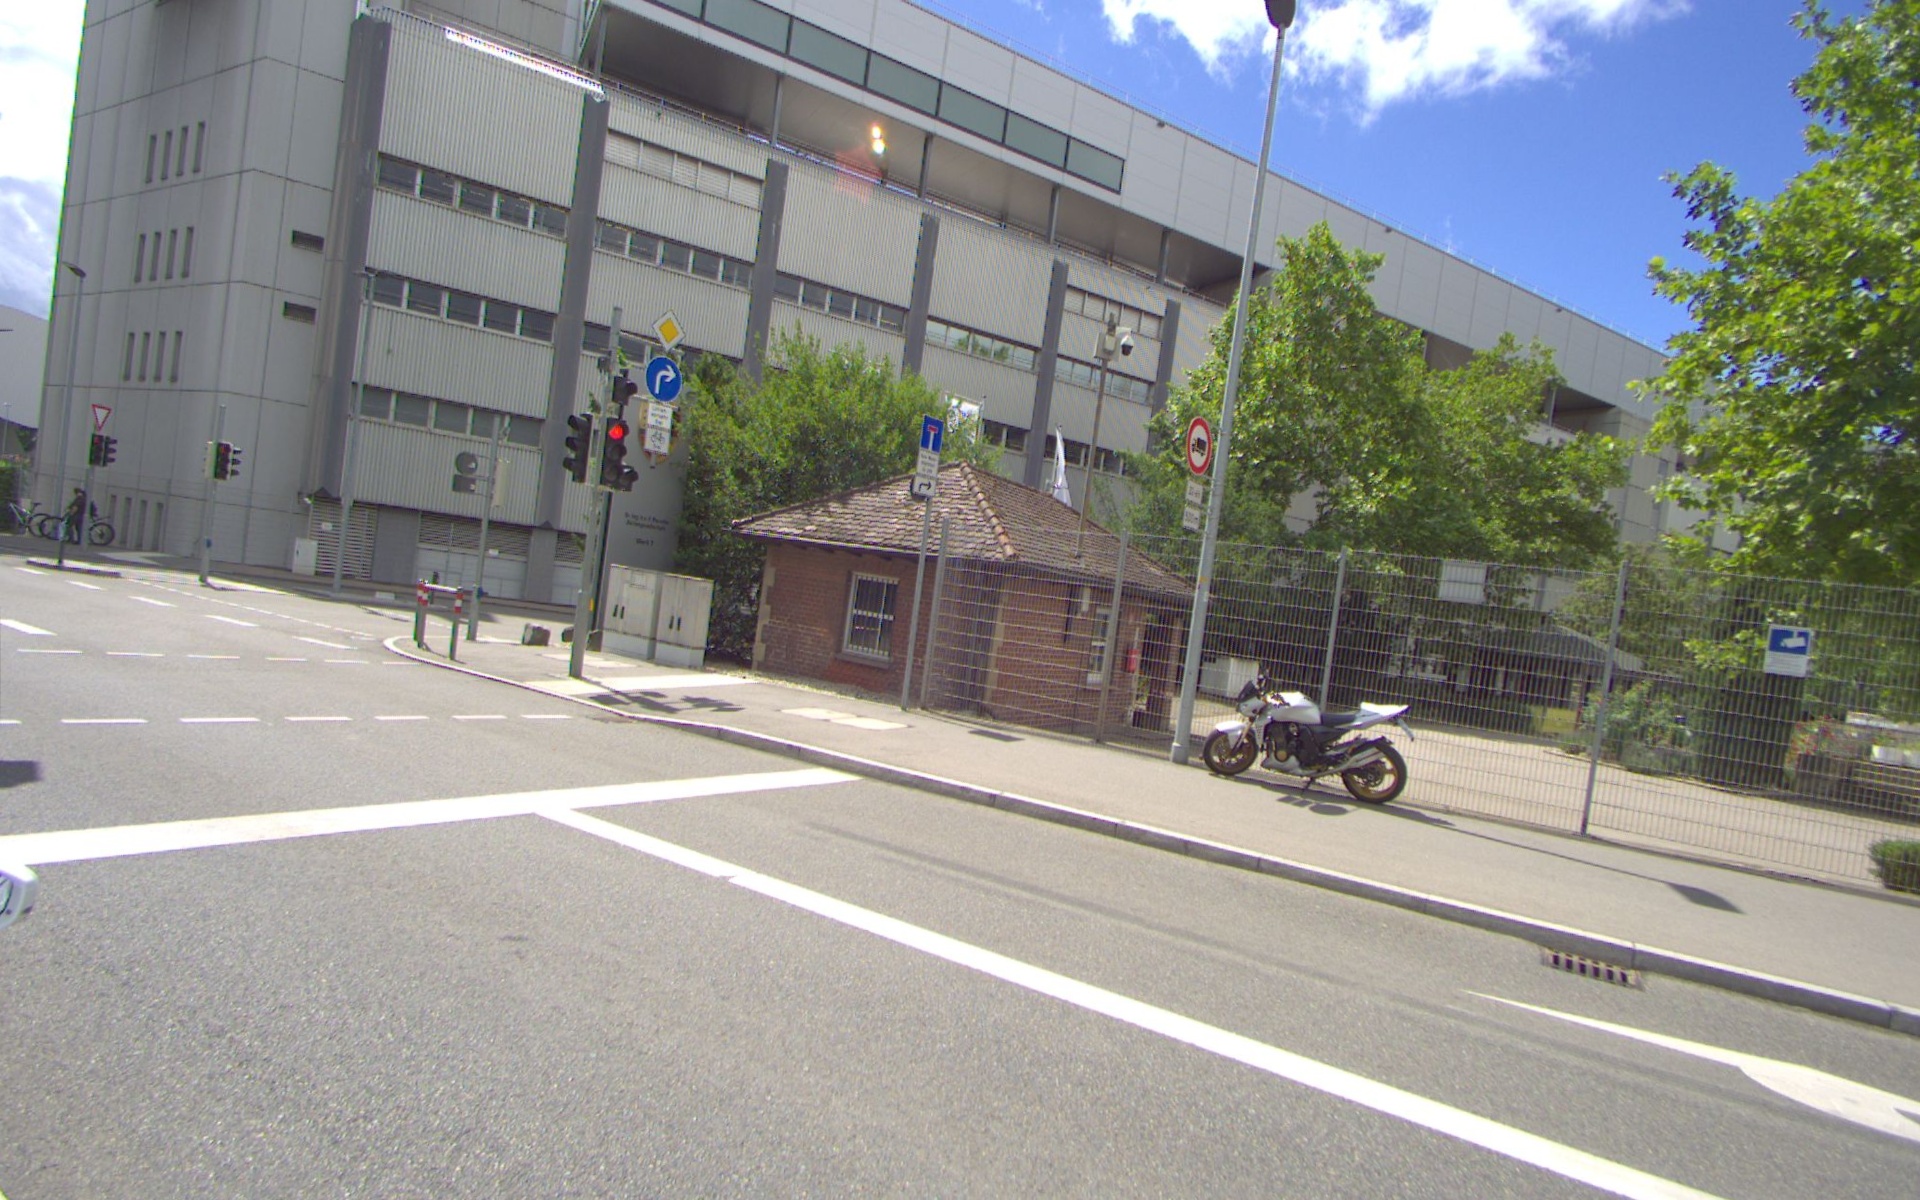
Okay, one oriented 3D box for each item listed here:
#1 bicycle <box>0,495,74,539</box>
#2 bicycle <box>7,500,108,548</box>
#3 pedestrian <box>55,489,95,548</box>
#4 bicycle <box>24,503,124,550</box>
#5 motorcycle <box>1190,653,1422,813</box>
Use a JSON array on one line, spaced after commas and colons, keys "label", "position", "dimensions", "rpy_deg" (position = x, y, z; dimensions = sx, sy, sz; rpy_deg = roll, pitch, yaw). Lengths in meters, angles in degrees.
[{"label": "bicycle", "position": [-29.294, -2.638, 31.485], "dimensions": [2.197, 1.099, 0.474], "rpy_deg": [8, -1, -23]}, {"label": "bicycle", "position": [-27.958, -2.332, 31.201], "dimensions": [2.197, 1.099, 0.474], "rpy_deg": [8, -1, -23]}, {"label": "pedestrian", "position": [-26.612, -2.435, 30.265], "dimensions": [0.651, 1.659, 0.531], "rpy_deg": [8, -1, -30]}, {"label": "bicycle", "position": [-27.236, -2.246, 30.963], "dimensions": [2.166, 1.099, 0.474], "rpy_deg": [8, -1, -23]}, {"label": "motorcycle", "position": [3.420, 1.264, 10.022], "dimensions": [1.980, 1.239, 0.687], "rpy_deg": [6, 2, 32]}]
